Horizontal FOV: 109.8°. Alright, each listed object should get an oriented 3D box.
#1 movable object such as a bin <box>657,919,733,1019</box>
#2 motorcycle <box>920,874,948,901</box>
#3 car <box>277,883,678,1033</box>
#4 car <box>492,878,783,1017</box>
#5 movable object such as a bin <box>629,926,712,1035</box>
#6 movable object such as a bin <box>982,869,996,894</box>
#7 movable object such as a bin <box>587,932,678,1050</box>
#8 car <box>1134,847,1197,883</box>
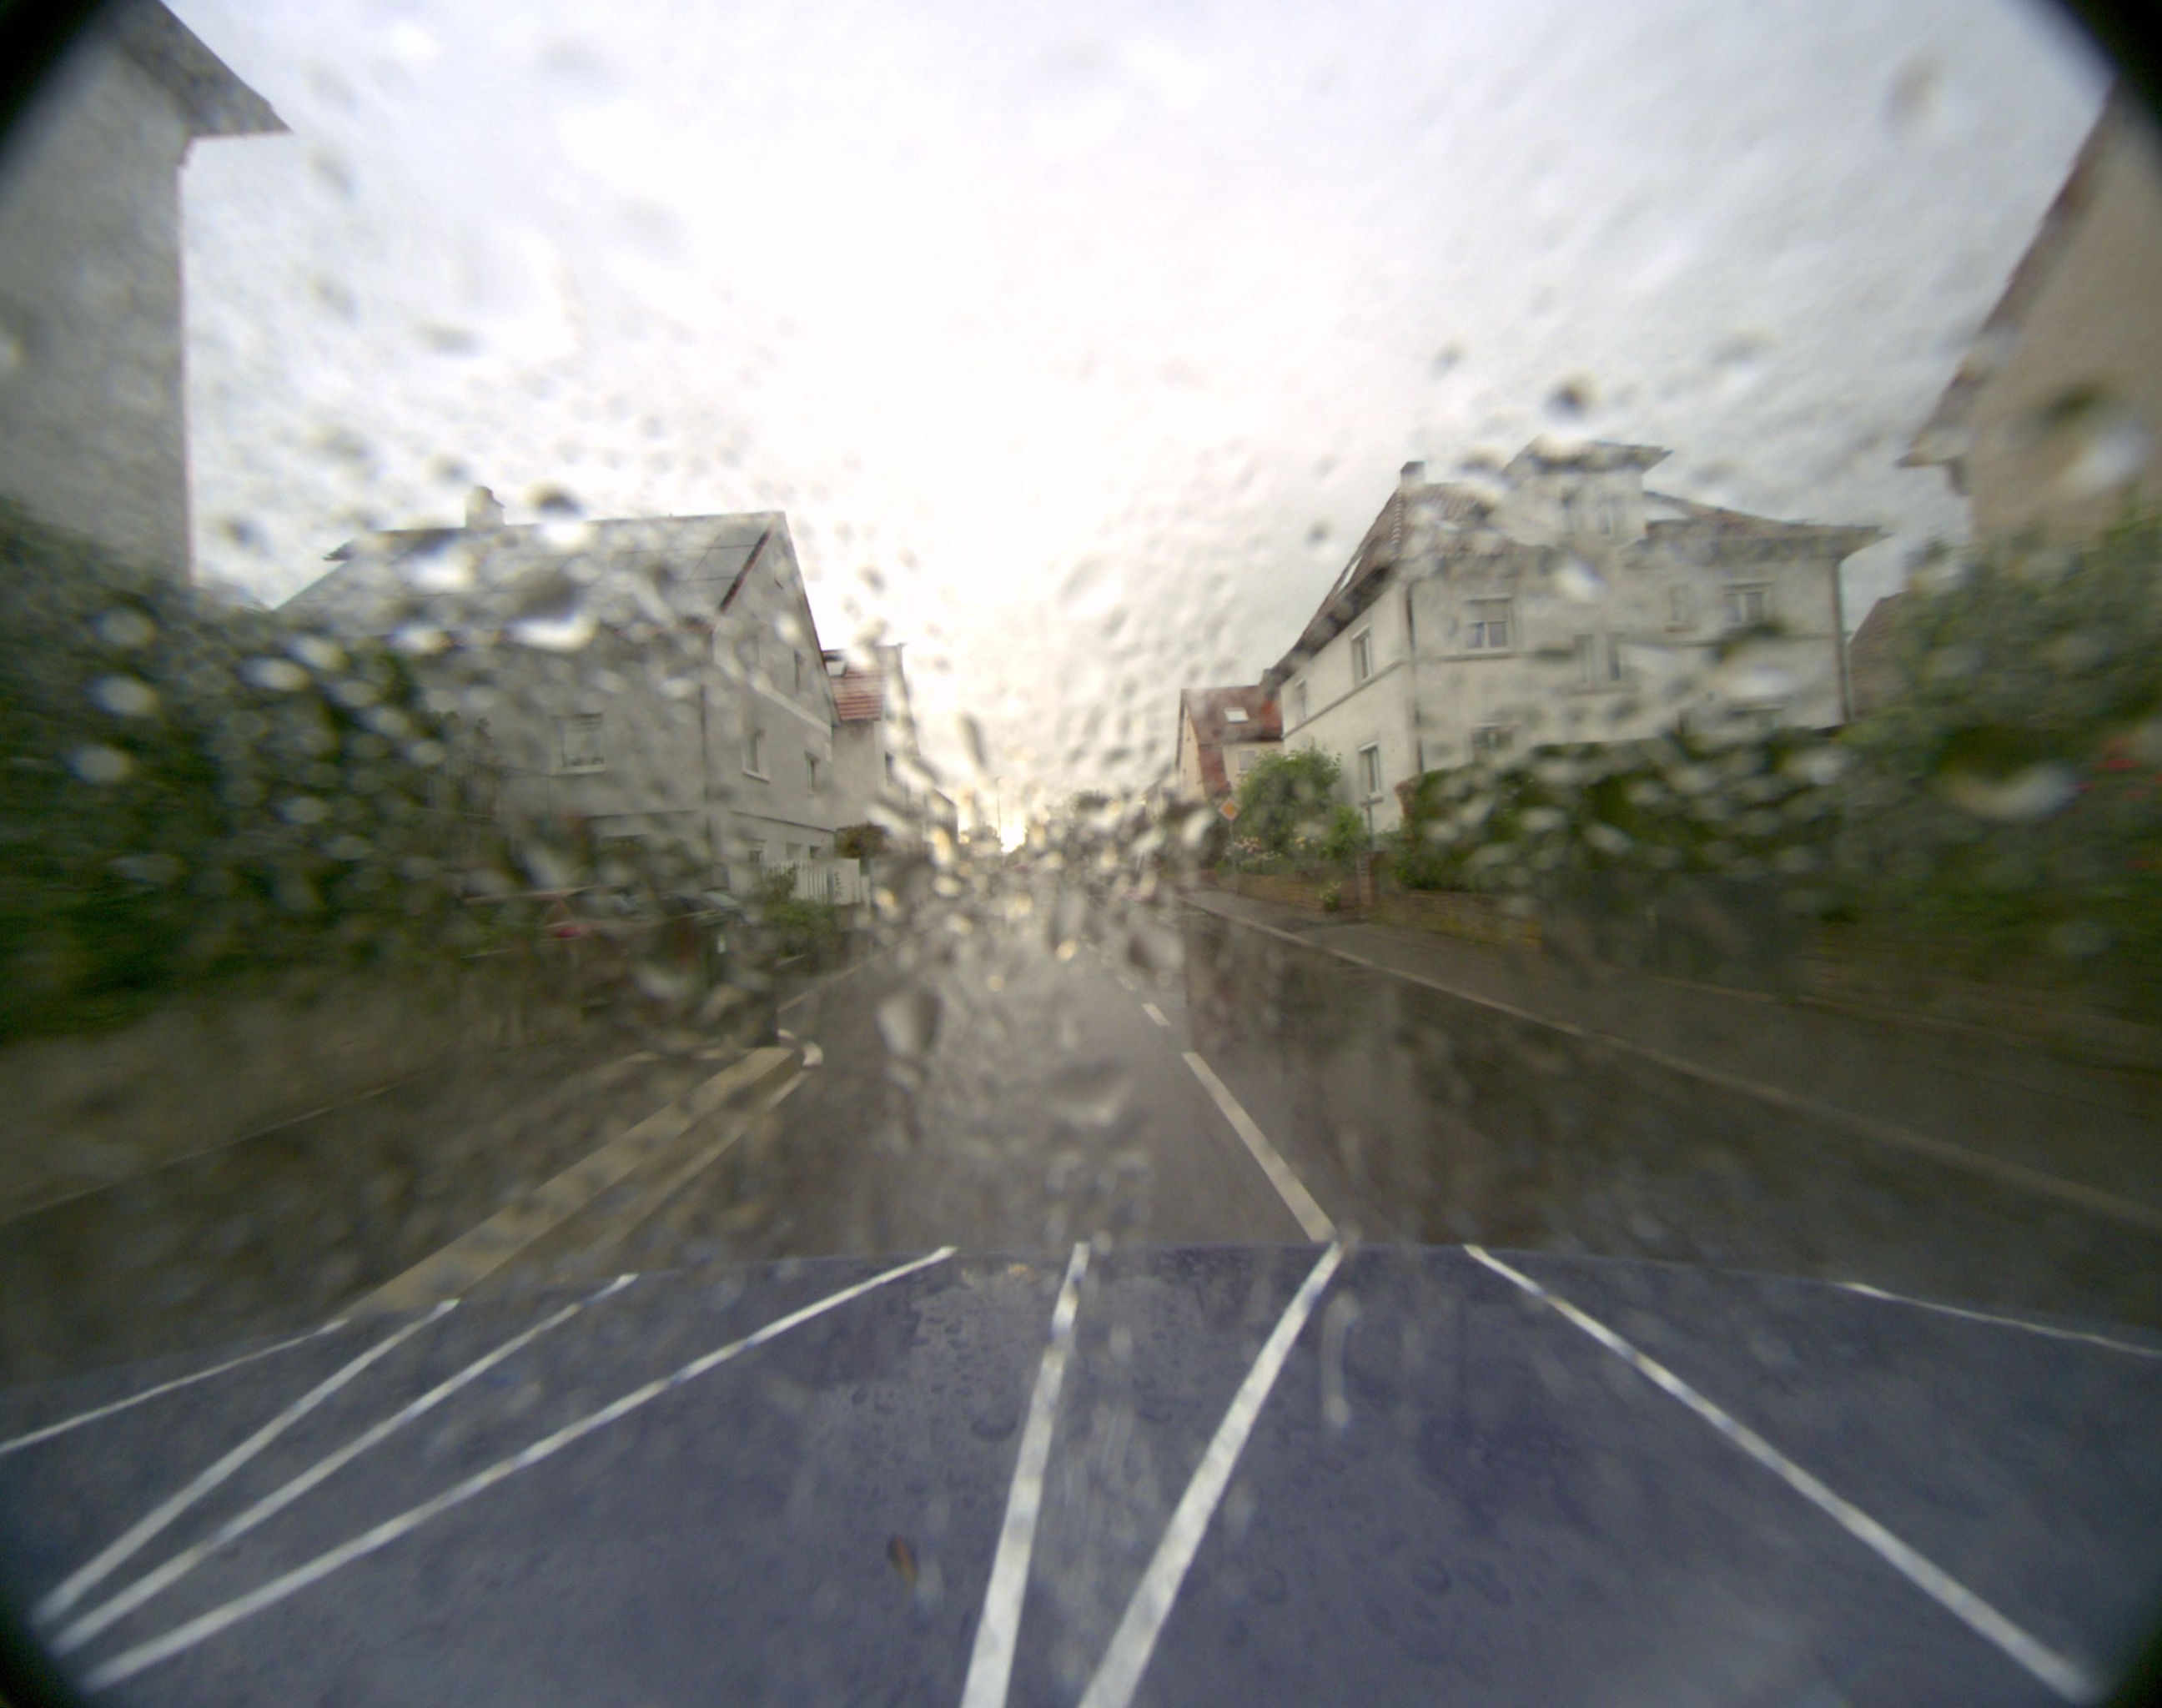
[{"bbox_3d":[-4.514,1.330,8.920,0.569,1.070,0.537,-3,0,-3],"label":"movable object such as a bin"},{"bbox_3d":[-5.826,1.314,30.068,0.557,1.007,1.147,-3,1,-40],"label":"motorcycle"},{"bbox_3d":[-7.042,1.174,9.142,3.486,1.501,1.580,-1,0,-2],"label":"car"},{"bbox_3d":[-6.843,1.401,11.990,3.454,1.473,1.580,-9,0,-2],"label":"car"},{"bbox_3d":[-4.472,1.366,8.308,0.569,1.070,0.537,-3,0,-3],"label":"movable object such as a bin"},{"bbox_3d":[-4.342,1.296,36.009,0.569,1.179,0.537,-2,0,-3],"label":"movable object such as a bin"},{"bbox_3d":[-4.527,1.368,7.698,0.569,1.070,0.523,-3,0,-3],"label":"movable object such as a bin"},{"bbox_3d":[6.153,0.803,55.561,3.999,1.963,1.873,9,-1,-4],"label":"car"}]
